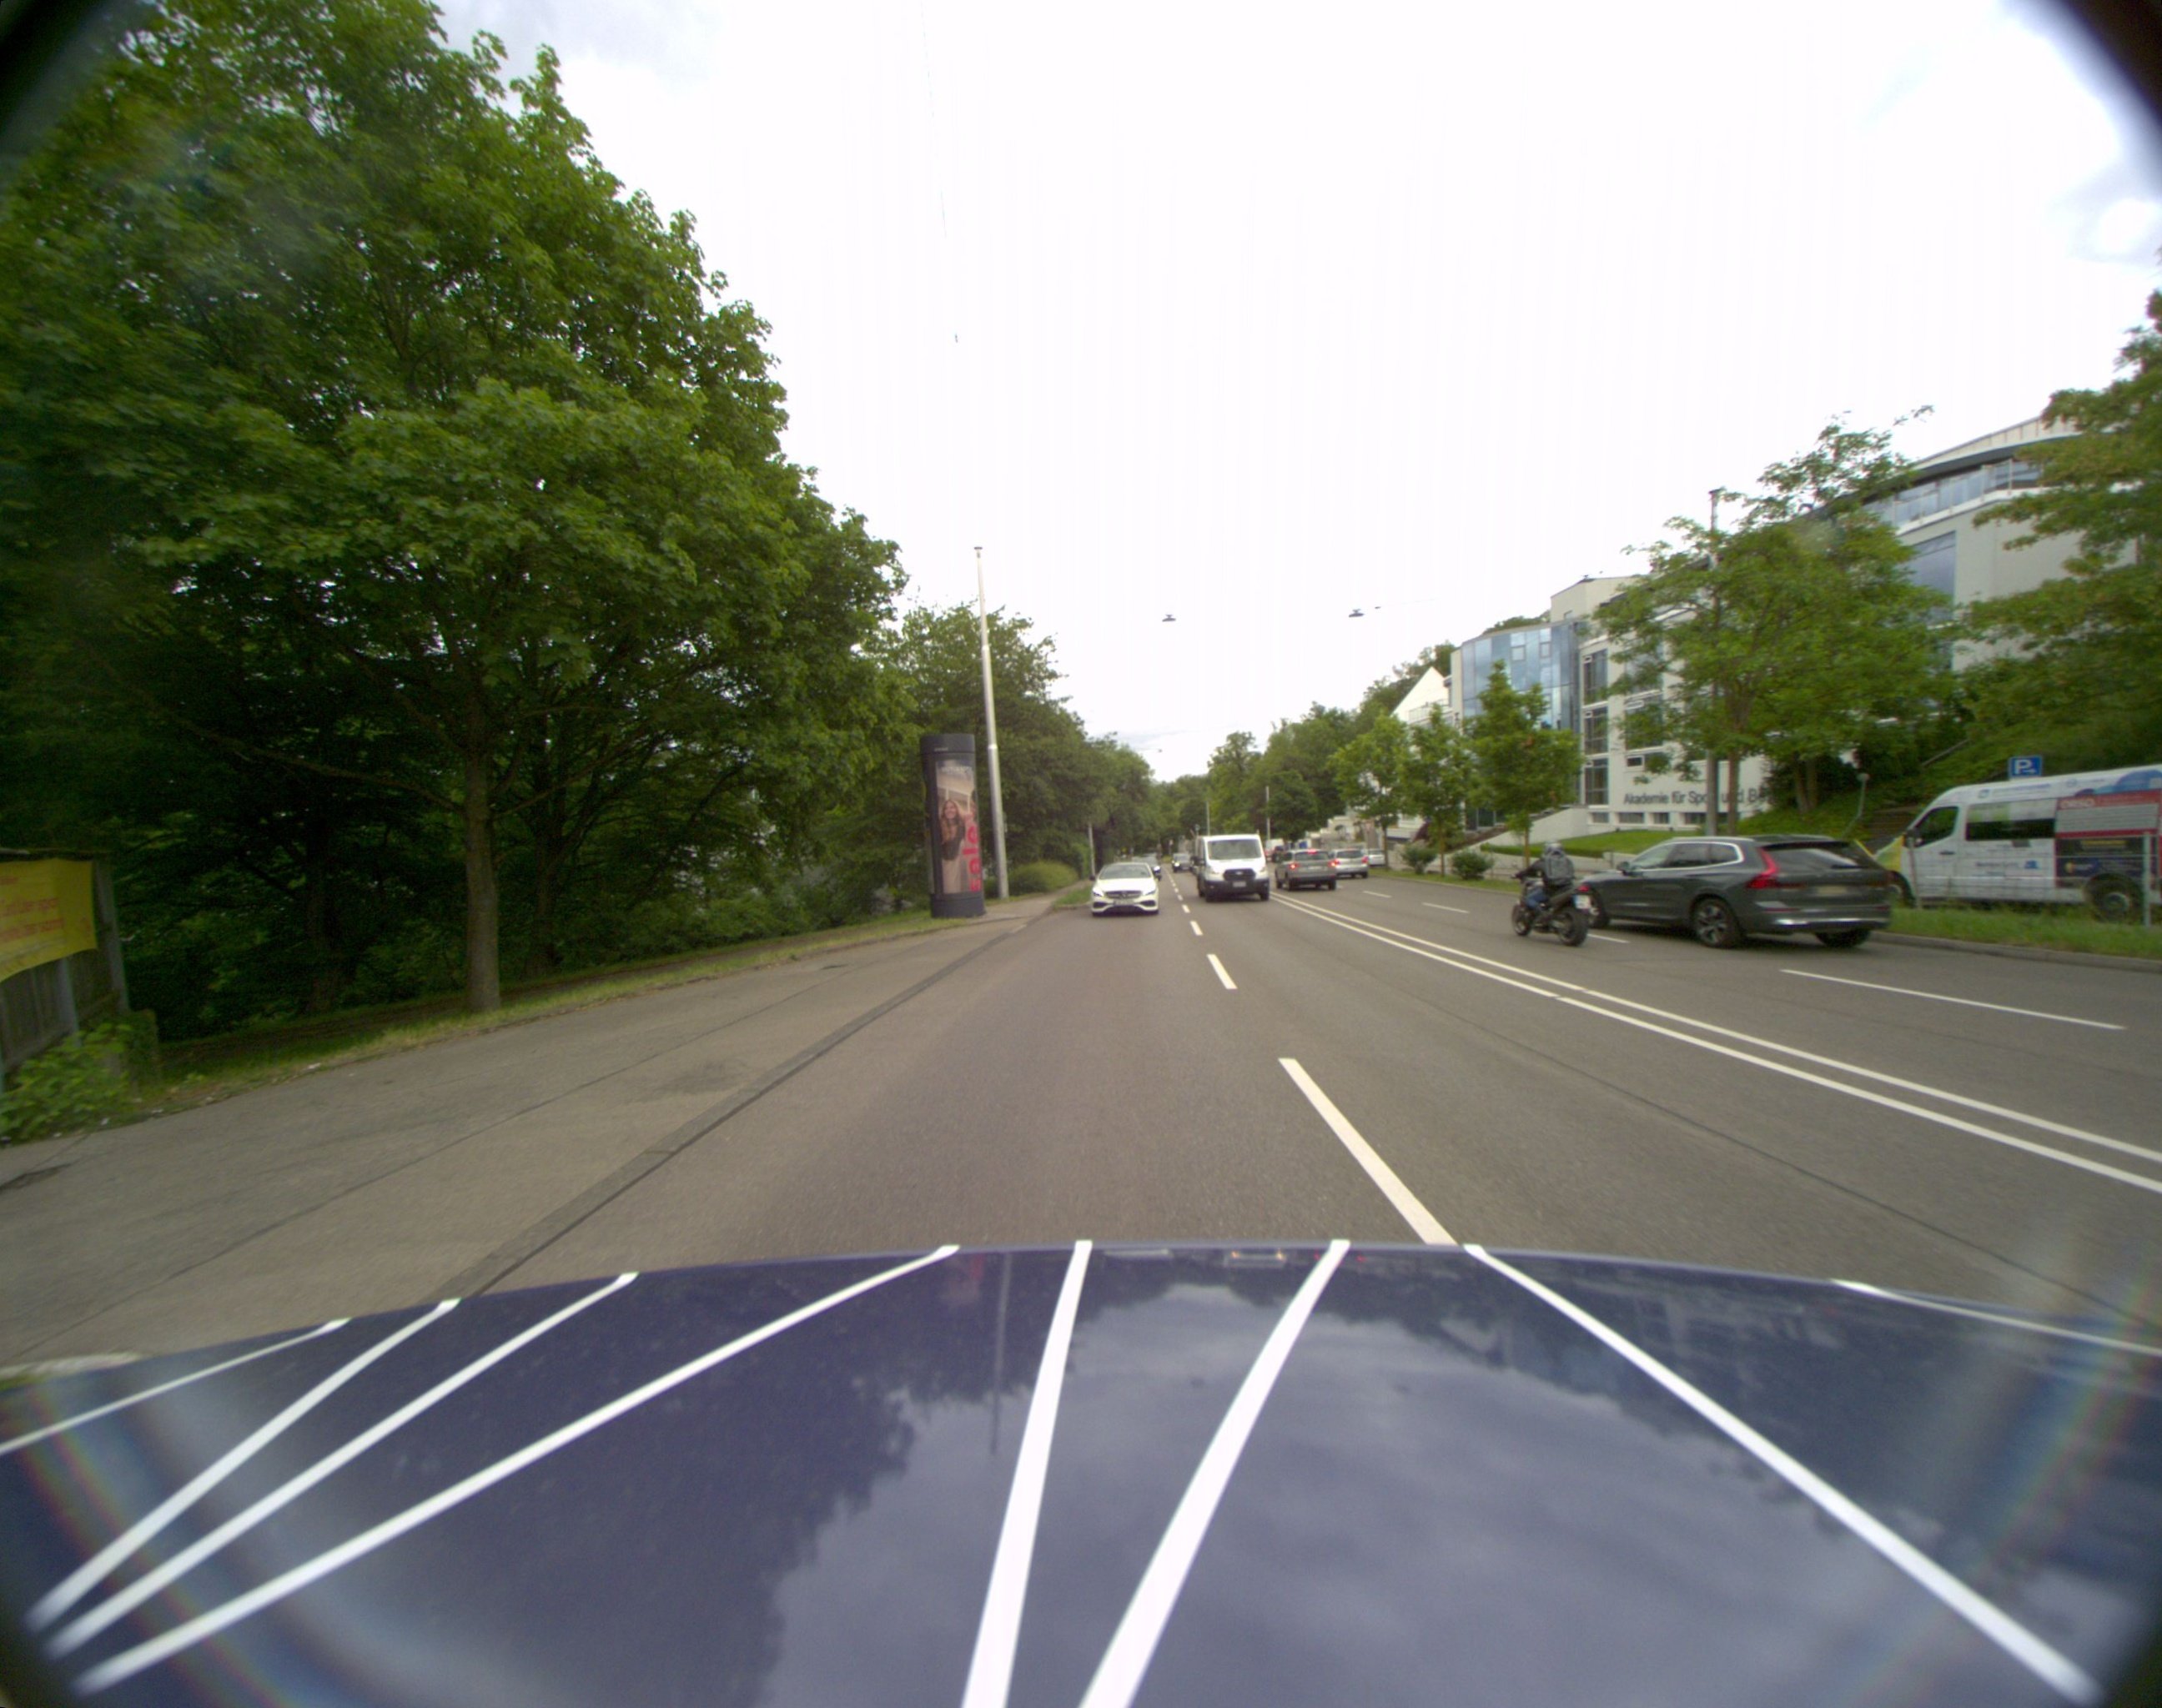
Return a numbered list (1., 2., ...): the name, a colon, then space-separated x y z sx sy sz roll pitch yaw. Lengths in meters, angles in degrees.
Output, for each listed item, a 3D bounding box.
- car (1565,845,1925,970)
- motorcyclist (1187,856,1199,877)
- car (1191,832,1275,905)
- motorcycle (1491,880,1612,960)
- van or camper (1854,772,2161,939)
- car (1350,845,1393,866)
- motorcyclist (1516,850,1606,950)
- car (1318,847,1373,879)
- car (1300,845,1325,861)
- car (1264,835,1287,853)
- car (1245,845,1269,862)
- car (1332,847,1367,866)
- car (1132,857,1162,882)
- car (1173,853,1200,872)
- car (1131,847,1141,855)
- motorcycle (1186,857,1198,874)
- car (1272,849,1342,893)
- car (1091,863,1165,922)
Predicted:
1. car: 9.972 0.694 12.012 1.789 1.566 4.468 -1 0 1
2. motorcyclist: 8.132 0.877 55.308 0.619 1.463 0.931 -5 0 3
3. car: 5.086 0.463 26.288 1.998 2.161 6.270 -3 0 4
4. motorcycle: 7.389 0.992 12.075 0.484 1.050 2.268 -2 0 -1
5. van or camper: 17.223 -0.024 13.347 1.997 2.458 5.713 -2 0 8
6. car: 21.235 0.093 55.699 1.677 1.420 4.419 0 0 4
7. motorcyclist: 7.413 0.684 11.782 0.762 1.476 0.960 0 1 -1
8. car: 12.916 0.416 37.288 1.569 1.423 3.892 -3 0 5
9. car: 22.389 -0.129 73.630 1.671 1.495 4.240 -2 0 8
10. car: 29.417 -1.472 114.993 1.998 2.511 6.535 -4 0 4
11. car: 19.591 -0.039 84.795 1.768 1.698 4.871 -3 0 4
12. car: 21.547 0.177 61.135 1.676 1.420 4.091 -2 0 6
13. car: 4.220 0.968 48.834 1.733 1.402 4.001 -3 0 4
14. car: 9.031 0.713 65.232 1.998 1.540 4.001 -3 0 4
15. car: 12.761 -0.694 177.801 1.998 1.880 3.999 -2 0 0
16. motorcycle: 8.159 0.821 55.758 0.574 1.120 2.296 -5 0 3
17. car: 8.760 0.617 29.751 1.789 1.529 4.077 -2 0 5
18. car: 1.341 1.016 21.446 1.821 1.339 4.001 -3 0 4
